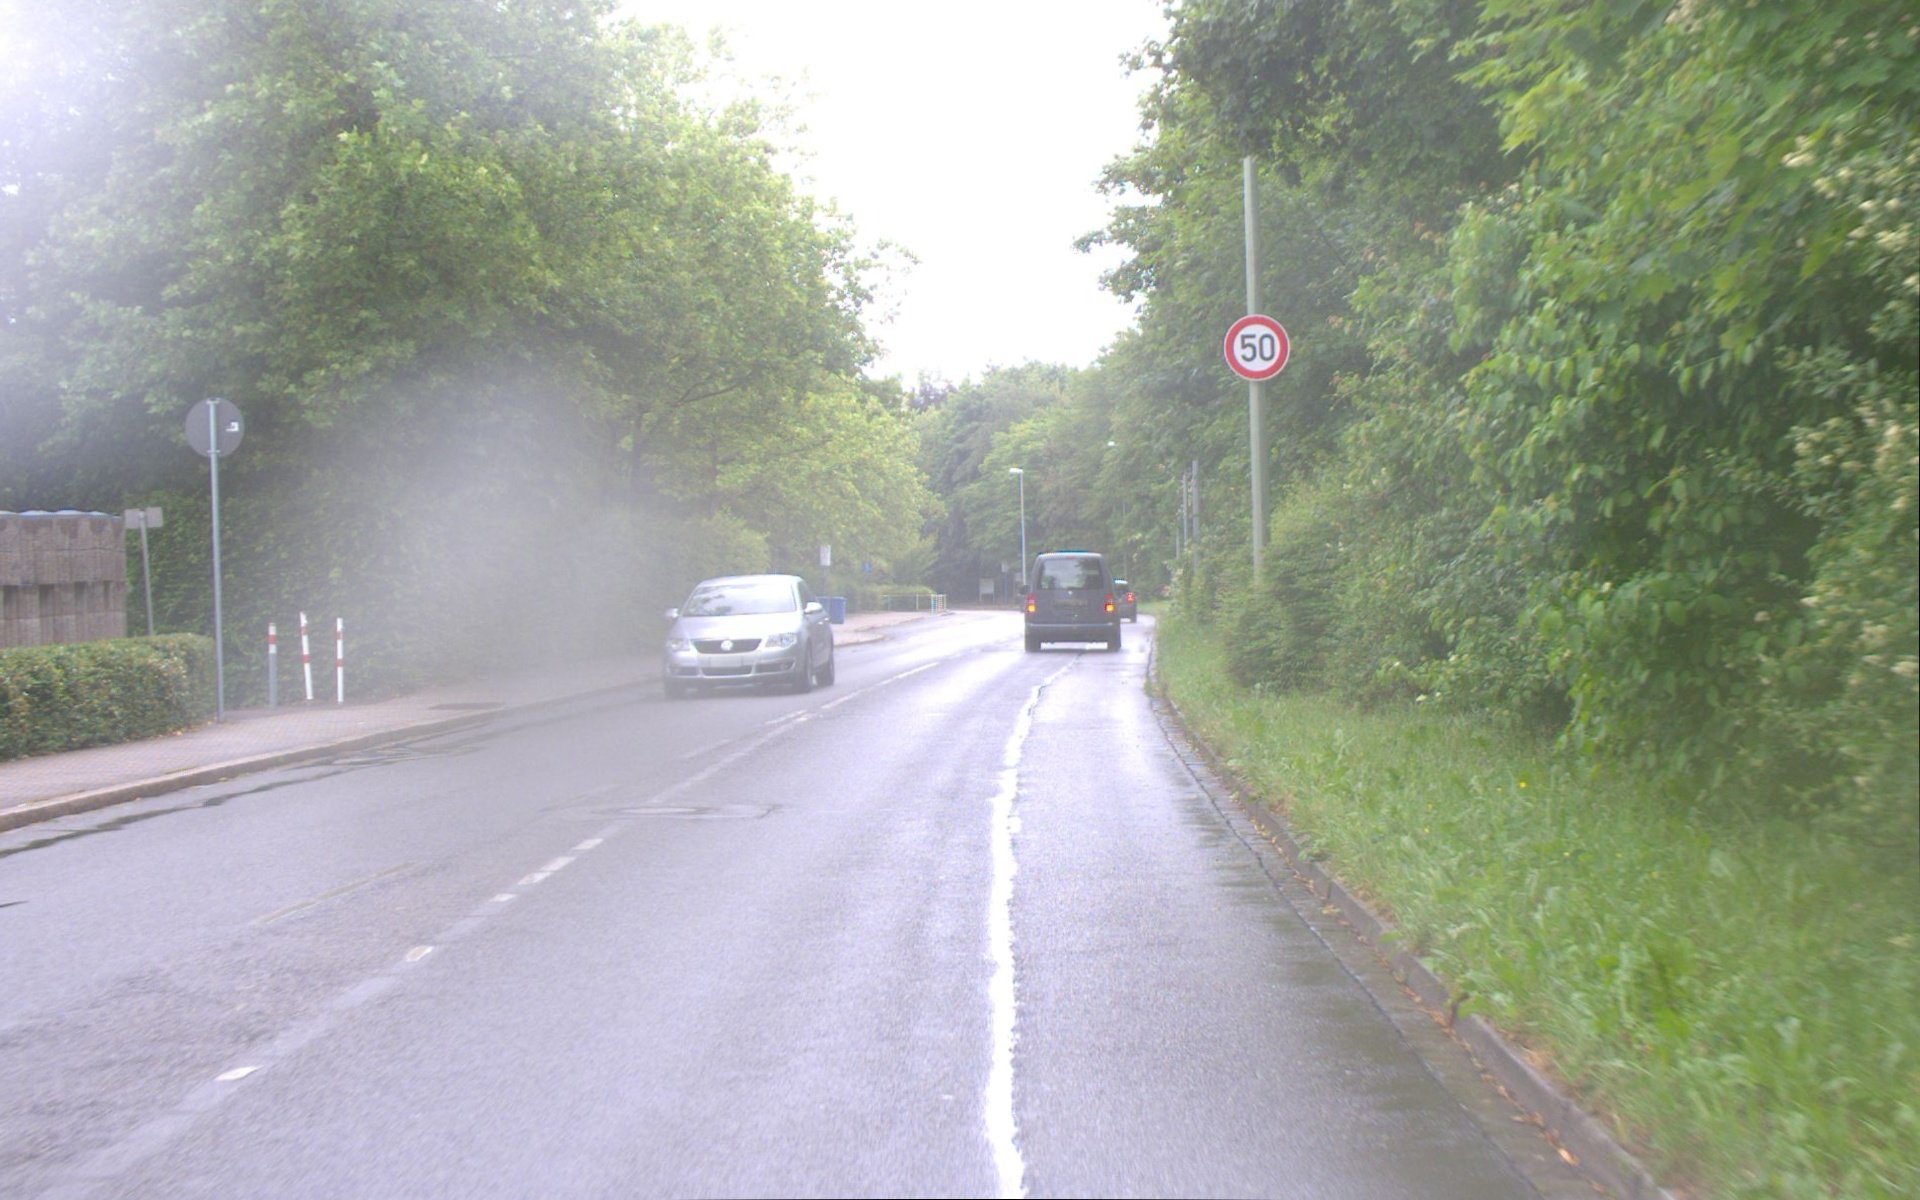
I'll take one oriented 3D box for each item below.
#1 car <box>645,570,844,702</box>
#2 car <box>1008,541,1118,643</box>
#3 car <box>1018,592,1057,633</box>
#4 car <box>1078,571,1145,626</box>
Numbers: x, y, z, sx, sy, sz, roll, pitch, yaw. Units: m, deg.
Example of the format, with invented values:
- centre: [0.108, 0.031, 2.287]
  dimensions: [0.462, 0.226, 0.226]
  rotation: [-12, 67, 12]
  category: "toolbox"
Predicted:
- centre: [-2.624, 0.408, 42.854]
  dimensions: [1.993, 1.415, 4.485]
  rotation: [-3, 1, 2]
  category: "car"
- centre: [1.959, -0.181, 64.828]
  dimensions: [1.994, 1.787, 4.000]
  rotation: [1, 2, 2]
  category: "car"
- centre: [4.069, 0.643, 180.624]
  dimensions: [1.993, 2.007, 4.000]
  rotation: [1, 1, 1]
  category: "car"
- centre: [5.225, -0.072, 118.996]
  dimensions: [1.950, 1.744, 4.001]
  rotation: [-2, 2, -2]
  category: "car"
